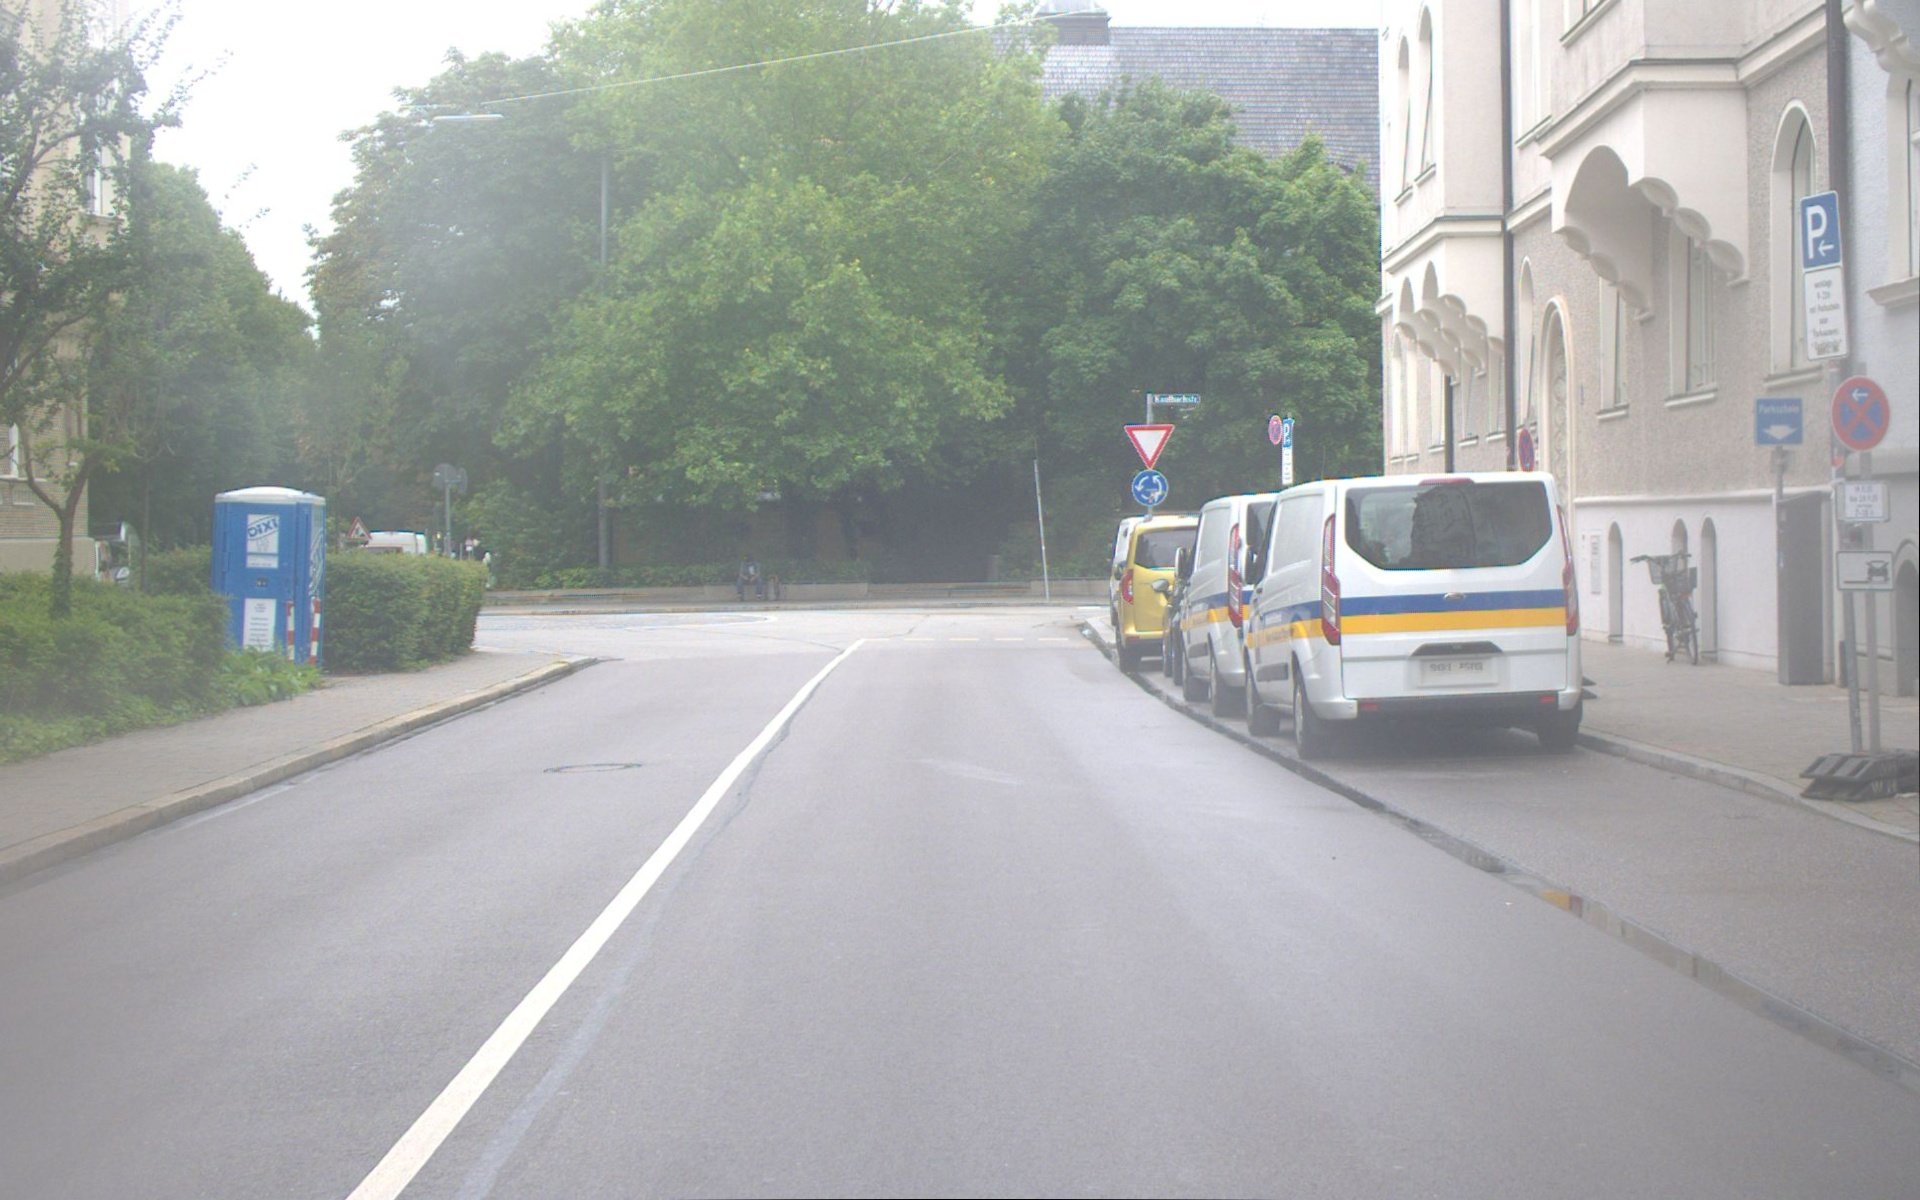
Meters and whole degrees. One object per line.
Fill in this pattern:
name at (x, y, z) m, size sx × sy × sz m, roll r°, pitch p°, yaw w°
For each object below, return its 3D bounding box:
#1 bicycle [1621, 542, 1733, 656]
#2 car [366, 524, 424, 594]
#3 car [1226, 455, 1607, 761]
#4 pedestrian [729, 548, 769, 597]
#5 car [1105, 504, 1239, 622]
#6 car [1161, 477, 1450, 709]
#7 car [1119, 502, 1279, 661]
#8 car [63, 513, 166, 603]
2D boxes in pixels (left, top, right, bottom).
bicycle at (7.374, -0.027, 35.435) m, size 0.694 × 1.090 × 2.037 m, roll -3°, pitch 1°, yaw 1°
car at (-21.273, -1.547, 129.284) m, size 2.041 × 2.549 × 5.250 m, roll -1°, pitch 1°, yaw -10°
car at (3.262, 0.003, 25.597) m, size 1.959 × 2.007 × 4.994 m, roll -1°, pitch 1°, yaw -2°
pedestrian at (-5.148, -0.677, 84.092) m, size 0.812 × 1.185 × 0.919 m, roll -1°, pitch 1°, yaw 6°
car at (3.724, -0.686, 61.187) m, size 1.916 × 1.955 × 4.927 m, roll -2°, pitch 1°, yaw -1°
car at (3.086, -0.109, 31.747) m, size 1.959 × 1.930 × 4.994 m, roll -1°, pitch 1°, yaw -2°
car at (2.935, -0.275, 42.991) m, size 1.850 × 1.846 × 4.820 m, roll -1°, pitch 1°, yaw 3°
car at (-28.382, -1.409, 115.565) m, size 2.334 × 2.912 × 6.580 m, roll -1°, pitch 1°, yaw -5°
